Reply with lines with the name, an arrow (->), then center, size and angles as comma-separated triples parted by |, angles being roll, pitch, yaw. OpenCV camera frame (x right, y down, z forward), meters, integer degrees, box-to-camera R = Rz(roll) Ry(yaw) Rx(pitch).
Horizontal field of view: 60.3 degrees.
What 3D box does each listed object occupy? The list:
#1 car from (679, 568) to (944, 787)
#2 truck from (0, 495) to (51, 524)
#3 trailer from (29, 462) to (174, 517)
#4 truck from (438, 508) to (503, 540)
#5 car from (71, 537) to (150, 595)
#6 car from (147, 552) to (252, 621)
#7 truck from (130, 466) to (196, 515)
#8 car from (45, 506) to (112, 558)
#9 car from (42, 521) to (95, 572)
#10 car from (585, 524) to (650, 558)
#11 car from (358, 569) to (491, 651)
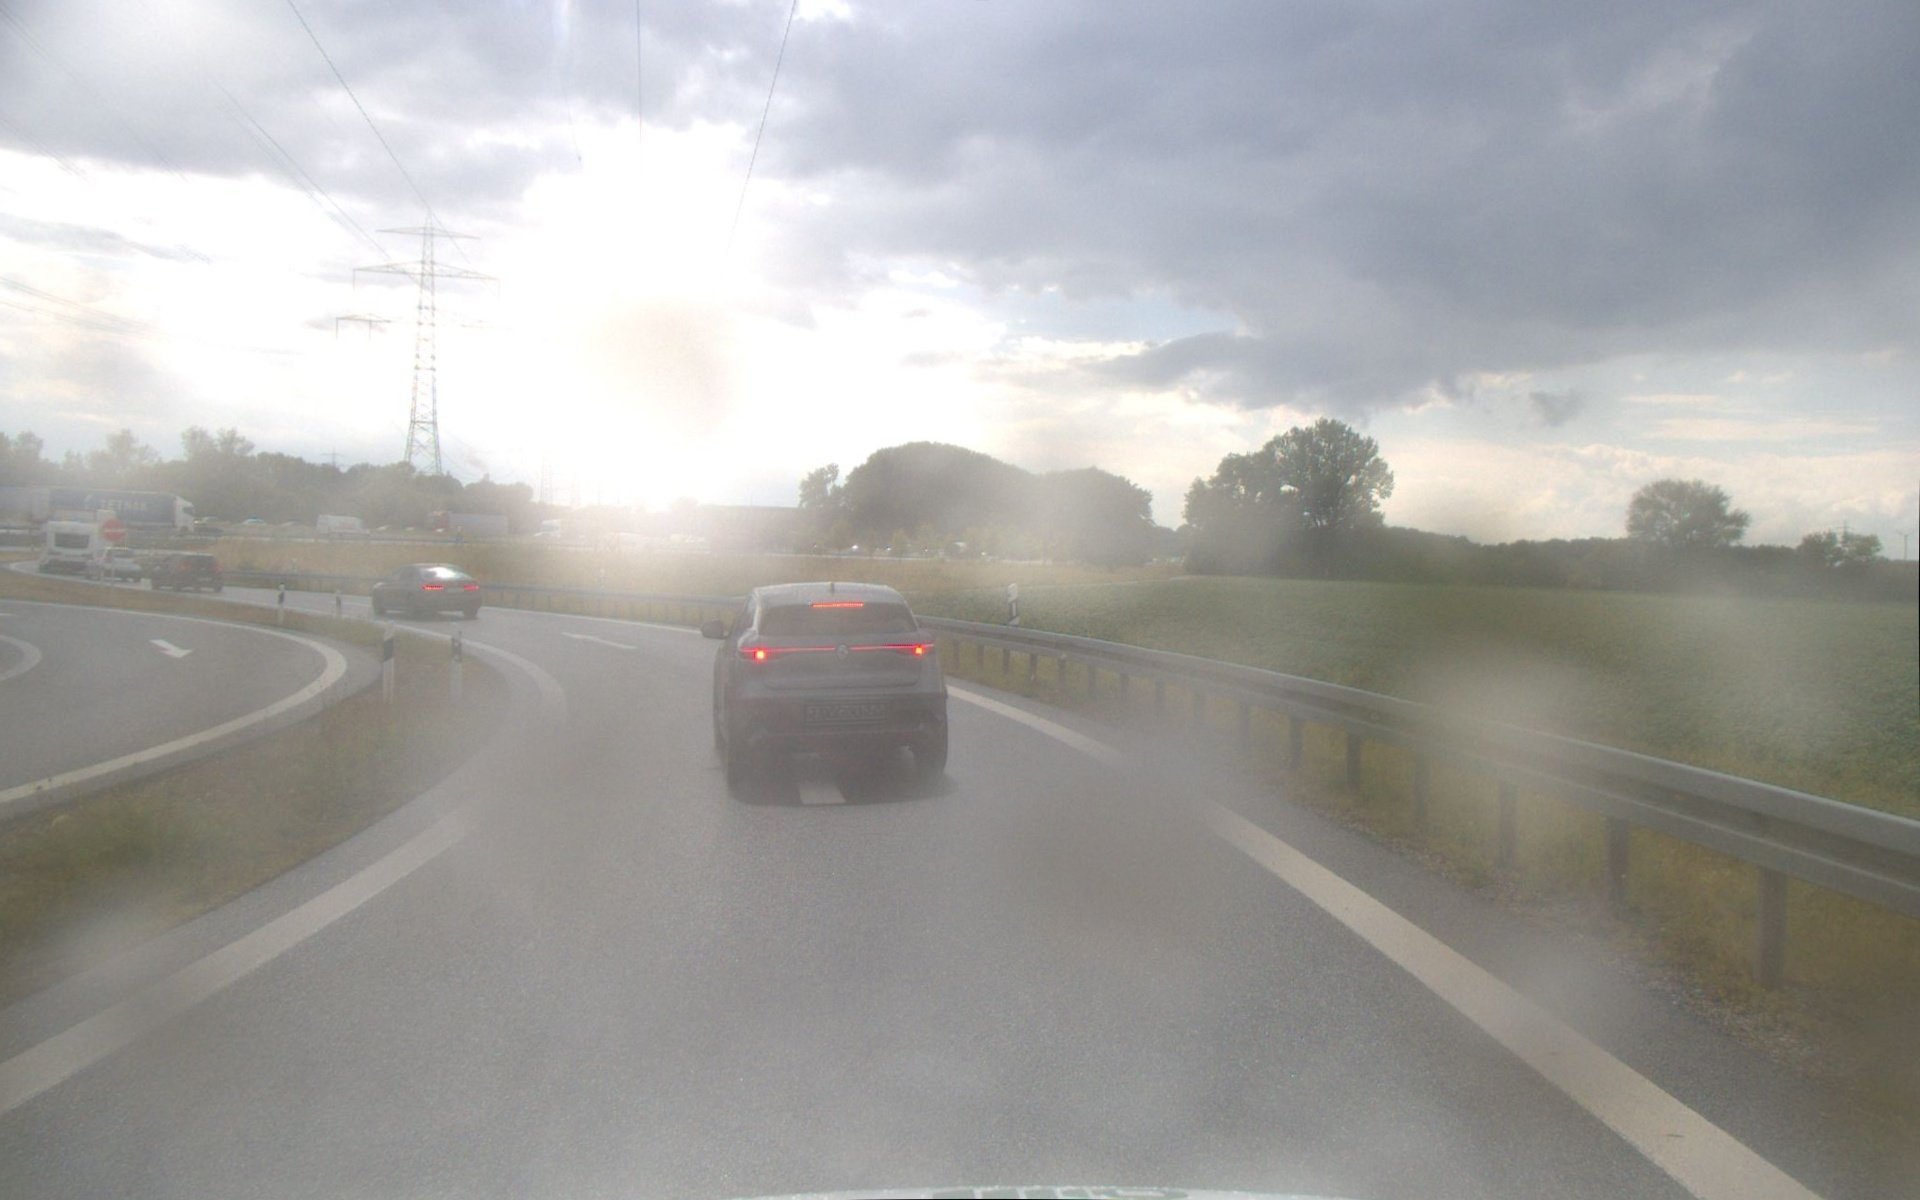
car -> -1.279, 0.543, 14.612 | 1.954, 1.593, 4.145 | -2, 1, -5
truck -> -103.605, -9.992, 181.830 | 2.265, 3.078, 6.470 | 3, 4, 21
trailer -> -79.622, -10.191, 153.914 | 2.986, 4.714, 13.306 | 3, 4, 21
truck -> -73.127, -11.326, 247.469 | 1.953, 4.195, 12.496 | 2, 1, 22
car -> -38.749, -1.587, 75.367 | 2.335, 2.346, 5.061 | -1, 4, -38
car -> -29.594, -0.568, 64.277 | 2.339, 2.346, 5.053 | -1, 4, -41
truck -> -77.205, -10.565, 160.216 | 3.005, 4.556, 5.075 | 3, 3, 20
car -> -55.809, -4.338, 104.833 | 3.094, 3.001, 7.161 | 1, 4, -23
car -> -45.557, -2.777, 84.615 | 2.324, 2.346, 5.083 | 0, 4, -28
car -> -41.337, -7.098, 199.973 | 3.314, 3.673, 9.046 | 2, 1, 20
car -> -15.719, 0.246, 48.315 | 2.104, 2.053, 5.466 | 2, 1, -36
